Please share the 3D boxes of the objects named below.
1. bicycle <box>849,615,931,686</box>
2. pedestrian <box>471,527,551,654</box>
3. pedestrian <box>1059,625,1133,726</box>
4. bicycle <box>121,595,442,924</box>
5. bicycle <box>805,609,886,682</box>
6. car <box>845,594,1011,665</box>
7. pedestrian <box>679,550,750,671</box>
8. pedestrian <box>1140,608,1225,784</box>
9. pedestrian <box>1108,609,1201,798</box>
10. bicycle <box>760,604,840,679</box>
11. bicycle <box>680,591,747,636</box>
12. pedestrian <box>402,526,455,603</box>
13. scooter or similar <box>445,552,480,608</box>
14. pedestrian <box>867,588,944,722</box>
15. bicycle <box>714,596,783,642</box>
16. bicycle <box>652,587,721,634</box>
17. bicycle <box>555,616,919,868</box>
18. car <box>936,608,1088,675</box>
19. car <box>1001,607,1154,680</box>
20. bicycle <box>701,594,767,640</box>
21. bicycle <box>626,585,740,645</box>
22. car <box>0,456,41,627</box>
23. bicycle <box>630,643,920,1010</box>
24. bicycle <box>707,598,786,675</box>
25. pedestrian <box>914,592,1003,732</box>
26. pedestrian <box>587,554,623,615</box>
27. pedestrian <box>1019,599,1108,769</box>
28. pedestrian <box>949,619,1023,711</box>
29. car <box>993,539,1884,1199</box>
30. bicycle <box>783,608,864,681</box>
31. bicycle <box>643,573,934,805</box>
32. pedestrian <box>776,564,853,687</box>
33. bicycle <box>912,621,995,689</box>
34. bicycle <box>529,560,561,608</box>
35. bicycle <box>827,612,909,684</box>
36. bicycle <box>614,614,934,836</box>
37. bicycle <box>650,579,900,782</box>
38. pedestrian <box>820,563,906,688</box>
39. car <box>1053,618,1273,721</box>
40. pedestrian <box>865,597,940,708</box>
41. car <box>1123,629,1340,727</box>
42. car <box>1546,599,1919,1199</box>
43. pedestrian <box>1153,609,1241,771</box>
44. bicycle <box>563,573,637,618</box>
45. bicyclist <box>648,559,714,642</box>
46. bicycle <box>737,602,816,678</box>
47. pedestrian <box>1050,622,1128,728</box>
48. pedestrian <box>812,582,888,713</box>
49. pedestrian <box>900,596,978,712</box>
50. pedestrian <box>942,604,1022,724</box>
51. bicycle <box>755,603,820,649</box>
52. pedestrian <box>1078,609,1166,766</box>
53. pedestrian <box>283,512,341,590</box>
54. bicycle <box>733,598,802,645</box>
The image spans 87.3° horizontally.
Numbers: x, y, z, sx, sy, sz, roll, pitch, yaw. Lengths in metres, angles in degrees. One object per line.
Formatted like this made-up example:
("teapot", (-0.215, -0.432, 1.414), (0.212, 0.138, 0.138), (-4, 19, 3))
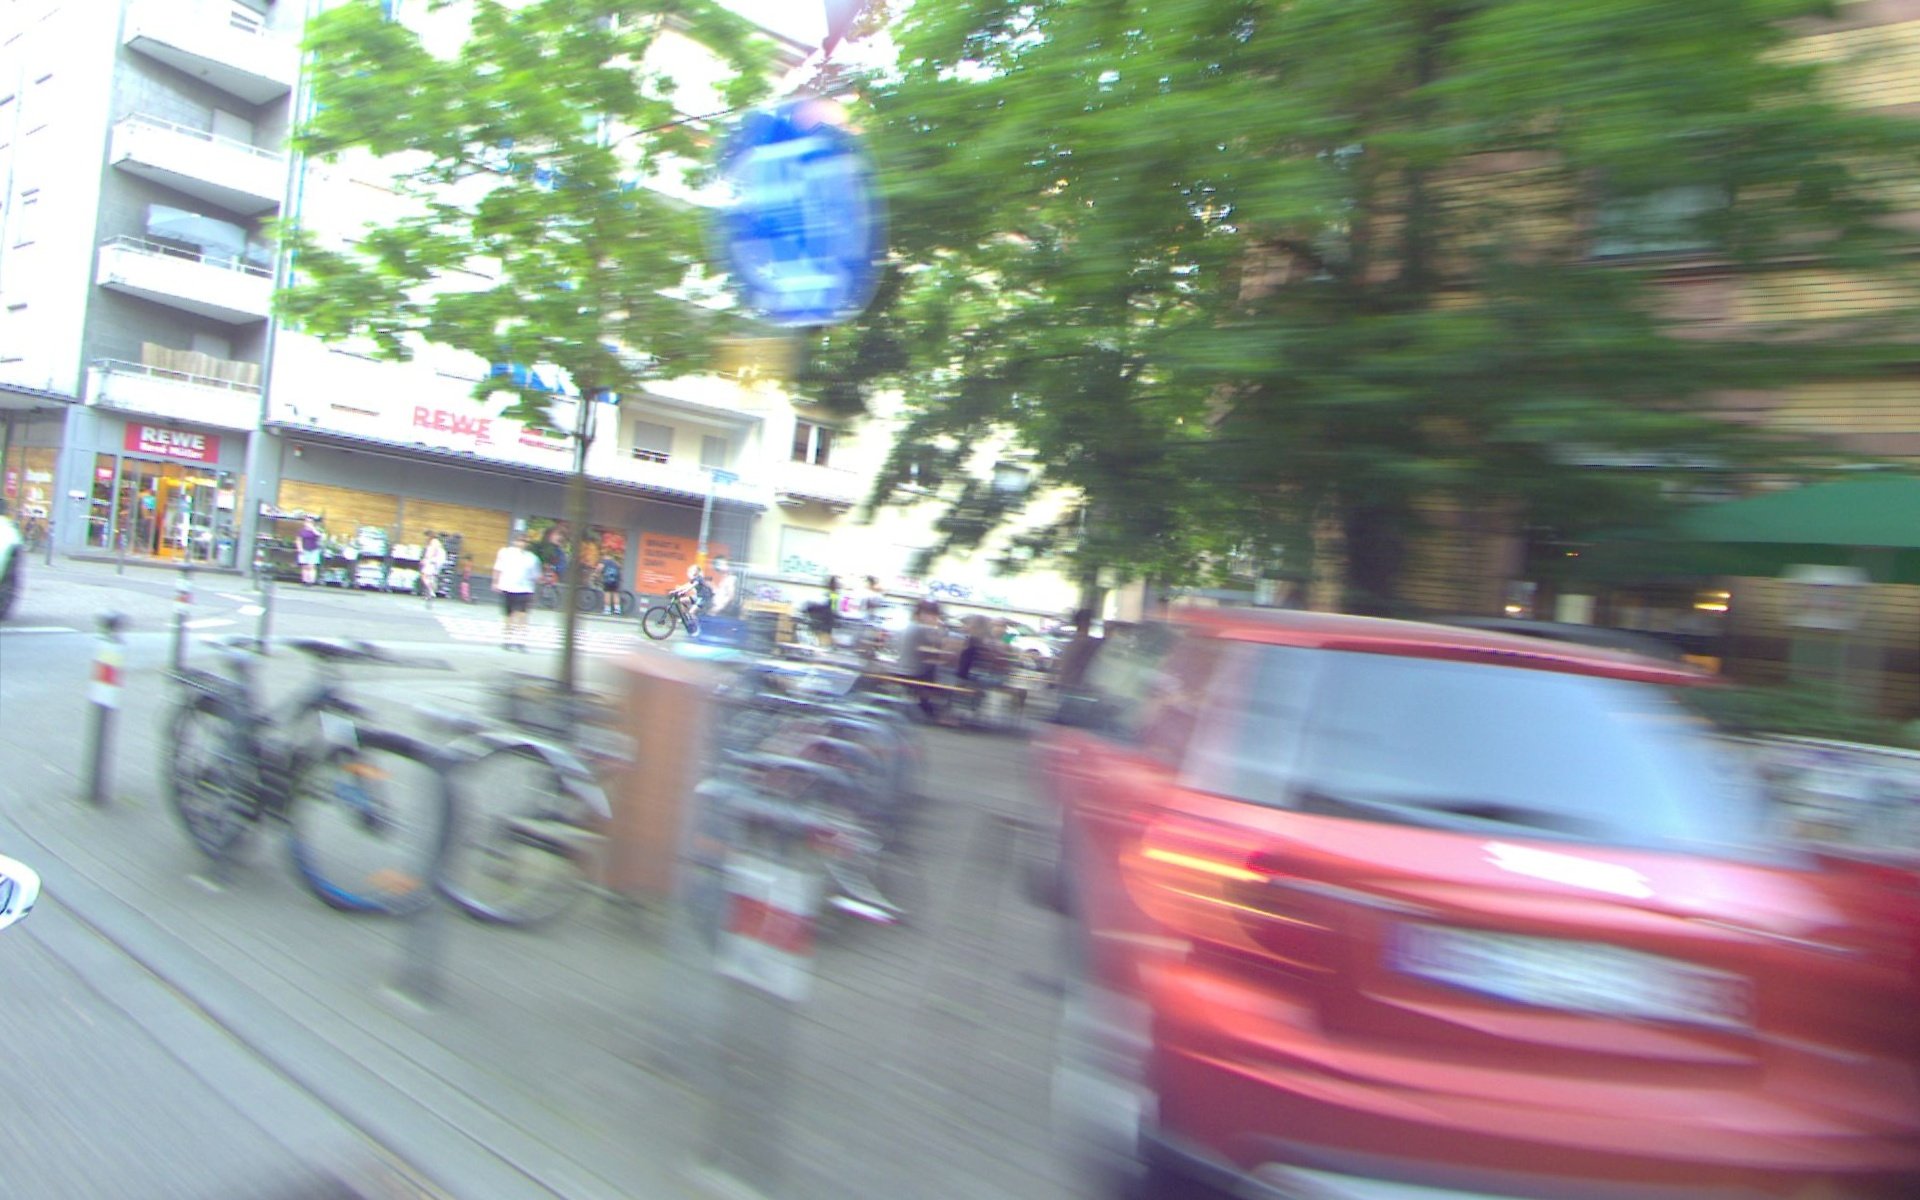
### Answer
("bicycle", (-1.348, 0.920, 18.984), (0.431, 1.147, 2.016), (8, -2, -35))
("pedestrian", (-6.860, -0.130, 15.427), (0.856, 1.790, 0.944), (7, -1, -20))
("pedestrian", (1.992, 1.101, 14.695), (0.729, 1.361, 0.625), (6, -1, 36))
("bicycle", (-2.871, 0.597, 4.211), (1.526, 1.076, 0.365), (6, -1, 29))
("bicycle", (-2.127, 0.802, 18.443), (0.431, 1.147, 2.016), (8, -2, -35))
("car", (-0.949, 0.898, 30.407), (4.460, 1.543, 2.002), (6, -2, 20))
("pedestrian", (-4.045, 0.180, 16.619), (0.853, 1.849, 0.836), (7, -1, -8))
("pedestrian", (1.953, 0.829, 8.777), (0.505, 1.425, 0.555), (6, -1, 20))
("pedestrian", (1.580, 0.824, 8.141), (0.505, 1.425, 0.555), (6, -1, 20))
("bicycle", (-2.874, 0.716, 17.859), (0.431, 1.147, 2.016), (8, -2, -35))
("bicycle", (-6.786, 0.388, 27.784), (0.371, 1.038, 2.013), (6, -2, 31))
("pedestrian", (-12.933, -0.850, 24.475), (0.655, 1.746, 0.722), (6, -1, 28))
("scooter or similar", (-12.550, -0.523, 25.376), (0.320, 1.282, 1.273), (8, 0, -42))
("pedestrian", (-0.590, 0.607, 11.005), (0.459, 1.396, 0.546), (6, -1, 30))
("bicycle", (-5.675, 0.533, 27.133), (0.483, 1.038, 2.013), (6, -2, 31))
("bicycle", (-7.199, 0.295, 26.527), (1.650, 1.038, 0.374), (9, -2, -40))
("bicycle", (-1.182, 0.742, 5.509), (1.735, 1.076, 0.599), (7, -1, 6))
("car", (1.595, 1.286, 31.958), (4.484, 1.543, 1.991), (5, -3, 43))
("car", (3.866, 1.430, 33.335), (4.470, 1.805, 1.997), (6, -2, 32))
("bicycle", (-6.122, 0.486, 27.373), (0.371, 1.038, 2.013), (6, -2, 31))
("bicycle", (-6.172, 0.347, 22.541), (2.272, 1.086, 0.781), (8, 0, -45))
("car", (-10.304, -0.632, 9.048), (1.925, 1.832, 4.959), (8, 0, -31))
("bicycle", (-0.663, 0.787, 4.125), (0.358, 1.176, 1.552), (6, 0, 18))
("bicycle", (-3.684, 0.596, 17.260), (0.431, 1.147, 2.016), (8, -2, -35))
("pedestrian", (-0.012, 0.655, 10.606), (0.566, 1.396, 0.544), (6, -1, 40))
("pedestrian", (-9.869, -0.428, 27.960), (0.659, 1.620, 0.713), (7, -1, -27))
("pedestrian", (0.942, 0.752, 9.092), (0.505, 1.425, 0.640), (6, -1, 20))
("pedestrian", (0.379, 0.958, 14.781), (0.729, 1.246, 0.625), (6, -1, 36))
("car", (1.081, 0.771, 4.196), (1.661, 1.649, 4.047), (7, 1, 1))
("bicycle", (-2.494, 0.777, 18.157), (0.431, 1.147, 2.016), (8, -2, -35))
("bicycle", (-1.151, 0.590, 6.919), (1.735, 1.303, 0.599), (7, -1, 6))
("pedestrian", (-2.224, 0.386, 15.316), (0.825, 1.743, 0.865), (7, -1, -20))
("bicycle", (-0.160, 1.068, 19.932), (0.431, 1.147, 2.016), (8, -2, -35))
("bicycle", (-11.183, -0.405, 27.137), (0.343, 1.217, 1.806), (7, -2, -12))
("bicycle", (-1.738, 0.863, 18.715), (0.431, 1.147, 2.016), (8, -2, -35))
("bicycle", (-1.106, 0.724, 6.140), (1.735, 1.078, 0.598), (6, 2, 6))
("bicycle", (-1.377, 0.604, 7.728), (1.692, 1.304, 0.598), (7, 0, -4))
("pedestrian", (-1.534, 0.418, 16.015), (0.853, 1.849, 0.836), (6, -1, 27))
("car", (3.968, 1.338, 20.380), (1.891, 1.543, 4.260), (8, -2, -31))
("pedestrian", (-0.708, 0.653, 12.392), (0.565, 1.284, 0.545), (6, -1, 34))
("car", (5.699, 1.610, 21.633), (1.891, 1.543, 4.260), (8, -2, -31))
("car", (3.600, 1.029, 2.061), (1.899, 1.710, 4.217), (6, 2, -5))
("pedestrian", (2.259, 0.845, 9.576), (0.608, 1.425, 0.514), (6, -1, 20))
("bicycle", (-10.222, -0.109, 28.607), (1.865, 1.038, 0.374), (8, -2, -34))
("bicyclist", (-6.212, 0.017, 22.434), (0.992, 1.710, 0.781), (7, 1, -44))
("bicycle", (-3.233, 0.666, 17.574), (0.431, 1.147, 2.016), (8, -2, -35))
("pedestrian", (1.794, 1.047, 13.993), (0.729, 1.361, 0.625), (6, -1, 36))
("pedestrian", (-1.230, 0.537, 11.280), (0.459, 1.396, 0.546), (6, -1, 30))
("pedestrian", (-0.246, 0.646, 11.897), (0.565, 1.284, 0.545), (6, -1, 34))
("pedestrian", (0.255, 0.736, 11.468), (0.565, 1.284, 0.545), (6, -1, 34))
("bicycle", (-4.558, 0.706, 26.732), (0.483, 1.038, 2.014), (6, -2, 28))
("pedestrian", (1.574, 0.847, 9.835), (0.608, 1.425, 0.514), (7, -1, 0))
("pedestrian", (-14.944, -1.112, 23.215), (0.706, 1.671, 0.713), (7, -1, -8))
("bicycle", (-5.100, 0.593, 26.814), (0.483, 1.038, 2.013), (6, -2, 31))
